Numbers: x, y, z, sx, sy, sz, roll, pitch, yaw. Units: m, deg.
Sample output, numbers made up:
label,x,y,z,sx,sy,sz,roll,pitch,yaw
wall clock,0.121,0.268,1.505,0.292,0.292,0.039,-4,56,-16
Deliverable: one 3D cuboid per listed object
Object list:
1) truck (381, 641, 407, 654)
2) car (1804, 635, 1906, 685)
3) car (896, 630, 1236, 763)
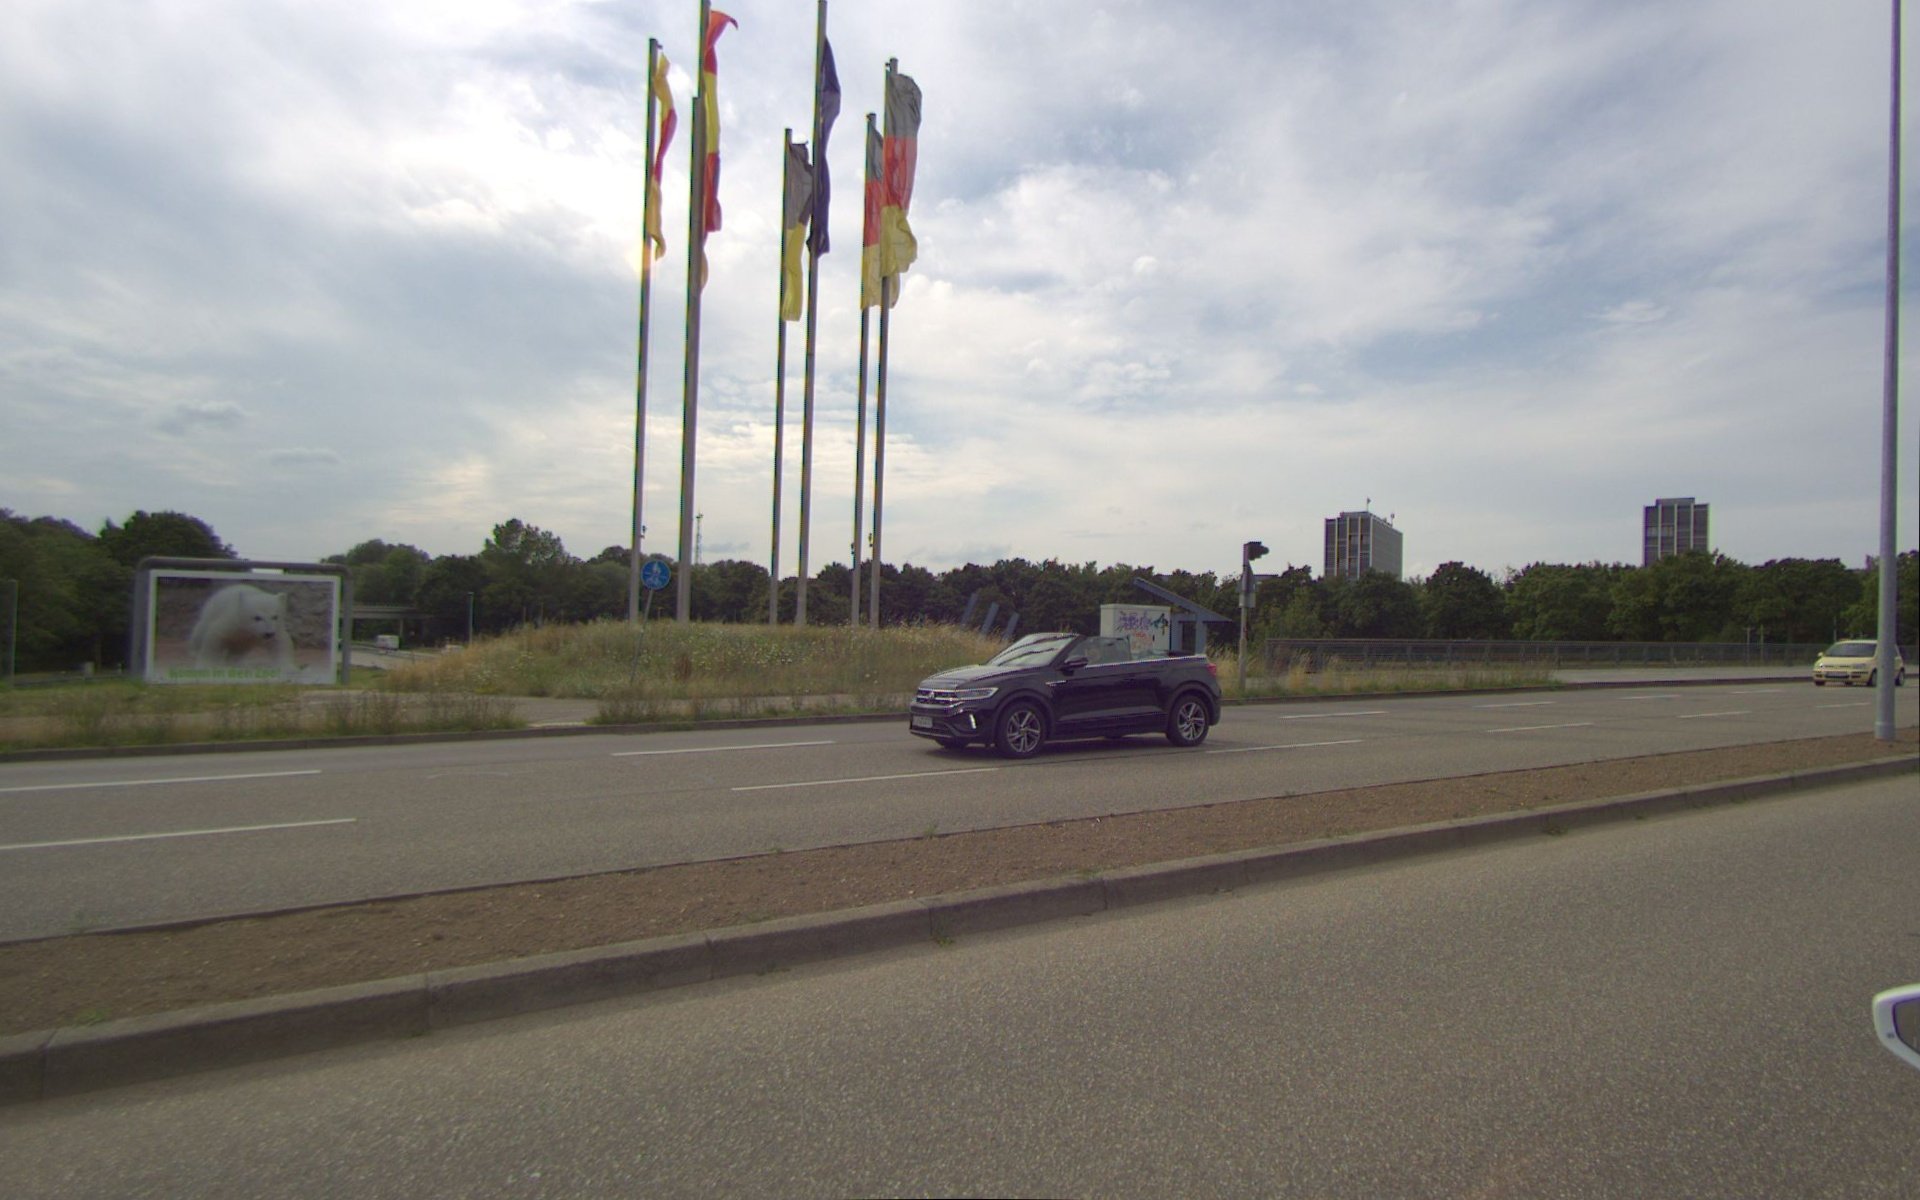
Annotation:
label,x,y,z,sx,sy,sz,roll,pitch,yaw
truck,-93.661,7.829,166.210,4.487,2.040,1.789,0,-1,34
car,30.207,1.998,33.898,3.648,1.598,1.541,1,-3,-31
car,1.401,1.131,12.845,4.129,1.459,1.755,1,-3,-31
